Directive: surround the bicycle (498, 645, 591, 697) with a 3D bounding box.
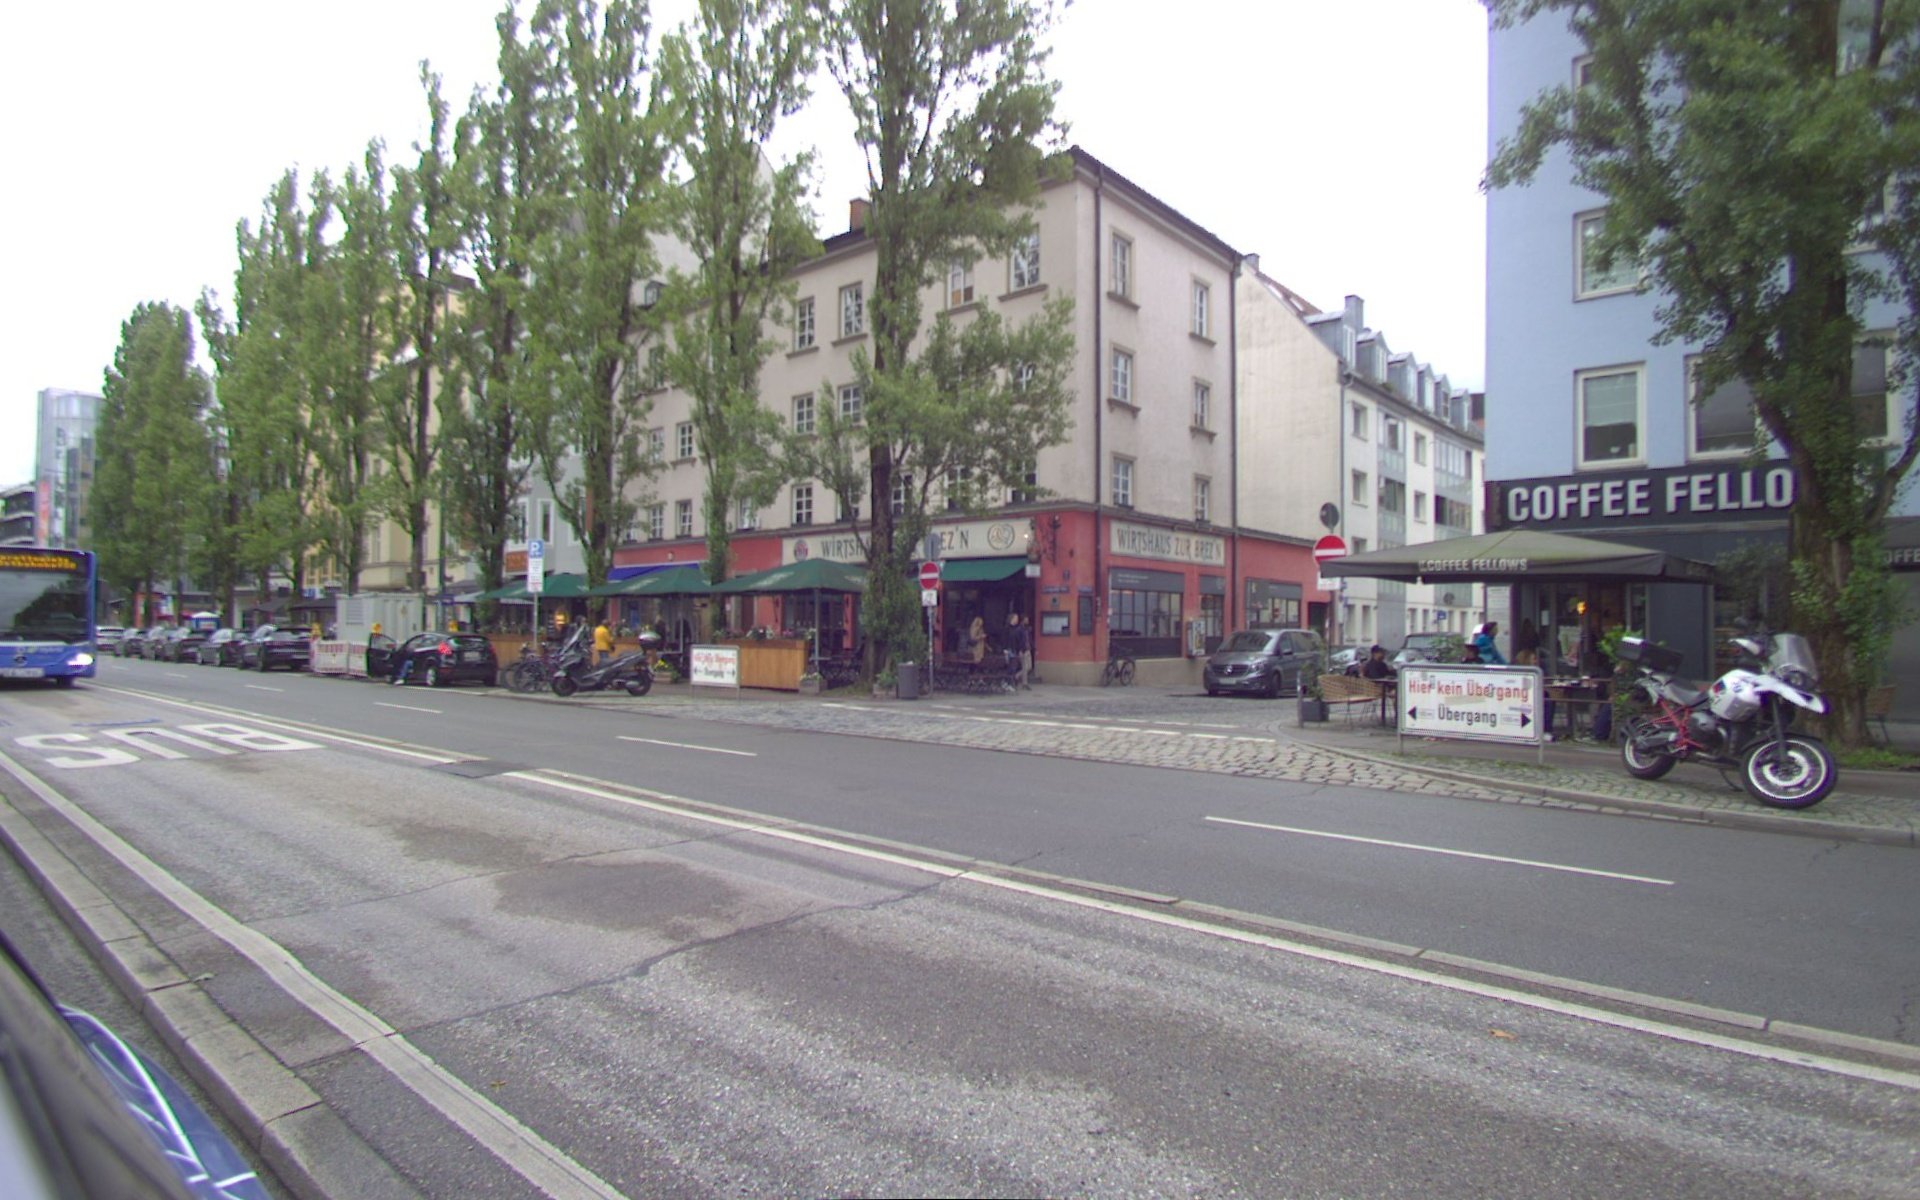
[{"bbox_3d":[-9.612,1.626,23.445,1.949,1.134,0.343,-1,0,-12],"label":"bicycle"}]

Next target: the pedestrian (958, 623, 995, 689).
[{"bbox_3d":[0.435,1.409,25.743,0.728,1.636,0.694,-1,-2,25],"label":"pedestrian"}]

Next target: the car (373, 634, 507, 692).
[{"bbox_3d":[-13.948,1.655,27.097,3.780,1.433,1.739,-1,-3,38],"label":"car"}]

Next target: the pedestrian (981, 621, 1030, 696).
[{"bbox_3d":[1.080,1.387,24.190,0.950,1.735,0.690,-2,-3,44],"label":"pedestrian"}]

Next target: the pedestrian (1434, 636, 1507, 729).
[{"bbox_3d":[7.825,1.240,15.529,0.819,1.373,0.690,-2,-3,44],"label":"pedestrian"}]

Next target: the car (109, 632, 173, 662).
[{"bbox_3d":[-41.488,2.368,51.229,4.572,1.451,1.778,-2,-3,42],"label":"car"}]

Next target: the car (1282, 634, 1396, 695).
[{"bbox_3d":[12.104,2.031,32.152,1.982,1.780,4.525,-1,-4,40],"label":"car"}]

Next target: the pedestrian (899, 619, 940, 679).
[{"bbox_3d":[-1.134,1.354,28.292,0.689,1.659,0.930,2,-3,-44],"label":"pedestrian"}]

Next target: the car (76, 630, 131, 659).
[{"bbox_3d":[-49.468,2.544,58.427,4.103,1.590,1.778,-2,-3,42],"label":"car"}]

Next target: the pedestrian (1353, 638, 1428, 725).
[{"bbox_3d":[7.034,1.302,16.545,0.950,1.373,0.690,-2,-3,44],"label":"pedestrian"}]

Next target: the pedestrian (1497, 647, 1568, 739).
[{"bbox_3d":[7.805,1.246,13.793,0.699,1.192,0.807,-2,-3,39],"label":"pedestrian"}]

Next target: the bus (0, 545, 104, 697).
[{"bbox_3d":[-22.484,0.514,23.328,10.046,2.972,2.661,-1,-2,41],"label":"bus"}]

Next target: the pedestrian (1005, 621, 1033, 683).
[{"bbox_3d":[1.609,1.399,27.556,0.691,1.659,0.927,0,-2,7],"label":"pedestrian"}]

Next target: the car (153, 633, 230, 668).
[{"bbox_3d":[-33.515,2.164,44.070,4.572,1.451,1.778,-2,-3,42],"label":"car"}]

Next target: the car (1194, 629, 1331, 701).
[{"bbox_3d":[8.362,1.754,27.728,1.982,1.780,4.525,-1,-4,40],"label":"car"}]

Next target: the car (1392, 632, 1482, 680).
[{"bbox_3d":[18.762,2.182,39.725,2.116,1.780,4.525,-1,-4,40],"label":"car"}]

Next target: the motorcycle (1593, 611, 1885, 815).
[{"bbox_3d":[6.807,0.899,9.068,0.704,1.575,2.348,-1,-1,-2],"label":"motorcycle"}]

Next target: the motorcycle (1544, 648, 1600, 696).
[{"bbox_3d":[16.529,1.924,27.295,0.738,1.213,2.729,-4,-4,42],"label":"motorcycle"}]

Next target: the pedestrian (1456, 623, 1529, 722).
[{"bbox_3d":[9.216,1.228,17.517,0.950,1.659,0.690,-2,-3,42],"label":"pedestrian"}]

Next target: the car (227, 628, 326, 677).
[{"bbox_3d":[-24.185,1.809,35.770,4.572,1.625,1.778,-2,-3,42],"label":"car"}]

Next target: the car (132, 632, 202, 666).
[{"bbox_3d":[-37.378,2.292,47.662,4.572,1.515,1.778,-2,-3,42],"label":"car"}]

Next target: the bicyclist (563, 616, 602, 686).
[{"bbox_3d":[-9.456,1.266,25.326,0.816,1.718,0.598,-1,-2,42],"label":"bicyclist"}]

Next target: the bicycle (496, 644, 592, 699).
[{"bbox_3d":[-9.225,1.576,22.485,1.949,1.134,0.283,-1,0,-12],"label":"bicycle"}]

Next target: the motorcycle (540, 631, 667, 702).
[{"bbox_3d":[-7.470,1.375,21.224,2.426,1.425,0.744,0,-2,8],"label":"motorcycle"}]

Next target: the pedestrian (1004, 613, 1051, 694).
[{"bbox_3d":[1.645,1.294,24.697,0.905,1.941,0.690,-2,-3,44],"label":"pedestrian"}]

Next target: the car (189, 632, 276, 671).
[{"bbox_3d":[-28.579,2.001,39.726,4.572,1.451,1.778,-2,-3,42],"label":"car"}]

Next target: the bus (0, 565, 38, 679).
[{"bbox_3d":[-29.116,0.657,29.089,10.046,2.972,2.655,-1,-2,41],"label":"bus"}]

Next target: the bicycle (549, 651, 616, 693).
[{"bbox_3d":[-9.456,1.772,25.300,2.173,0.976,0.605,-2,-2,42],"label":"bicycle"}]

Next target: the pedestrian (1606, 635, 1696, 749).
[{"bbox_3d":[8.671,1.124,12.708,0.847,1.373,0.690,-2,-3,40],"label":"pedestrian"}]

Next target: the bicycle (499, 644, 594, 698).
[{"bbox_3d":[-9.285,1.585,22.762,1.949,1.134,0.283,-1,0,-12],"label":"bicycle"}]

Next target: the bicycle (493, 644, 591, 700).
[{"bbox_3d":[-9.130,1.570,22.156,1.949,1.134,0.362,-1,0,-12],"label":"bicycle"}]

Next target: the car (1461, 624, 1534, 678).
[{"bbox_3d":[25.005,2.382,47.040,1.982,2.384,4.523,-2,-4,42],"label":"car"}]

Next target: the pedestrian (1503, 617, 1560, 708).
[{"bbox_3d":[11.507,1.249,20.403,0.692,1.786,0.947,0,-2,10],"label":"pedestrian"}]

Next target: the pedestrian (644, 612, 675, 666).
[{"bbox_3d":[-10.841,1.401,36.482,0.905,1.941,0.690,-2,-3,44],"label":"pedestrian"}]

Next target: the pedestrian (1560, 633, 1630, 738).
[{"bbox_3d":[8.620,1.134,13.732,0.699,1.373,0.706,-2,-3,39],"label":"pedestrian"}]

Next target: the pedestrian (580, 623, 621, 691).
[{"bbox_3d":[-9.471,1.492,26.666,0.699,1.739,0.722,-1,-3,38],"label":"pedestrian"}]

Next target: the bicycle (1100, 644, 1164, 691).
[{"bbox_3d":[4.652,1.789,27.226,0.645,1.214,2.317,-2,-3,39],"label":"bicycle"}]

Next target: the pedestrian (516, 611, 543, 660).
[{"bbox_3d":[-17.423,1.448,40.981,0.905,1.941,0.690,-2,-3,44],"label":"pedestrian"}]
